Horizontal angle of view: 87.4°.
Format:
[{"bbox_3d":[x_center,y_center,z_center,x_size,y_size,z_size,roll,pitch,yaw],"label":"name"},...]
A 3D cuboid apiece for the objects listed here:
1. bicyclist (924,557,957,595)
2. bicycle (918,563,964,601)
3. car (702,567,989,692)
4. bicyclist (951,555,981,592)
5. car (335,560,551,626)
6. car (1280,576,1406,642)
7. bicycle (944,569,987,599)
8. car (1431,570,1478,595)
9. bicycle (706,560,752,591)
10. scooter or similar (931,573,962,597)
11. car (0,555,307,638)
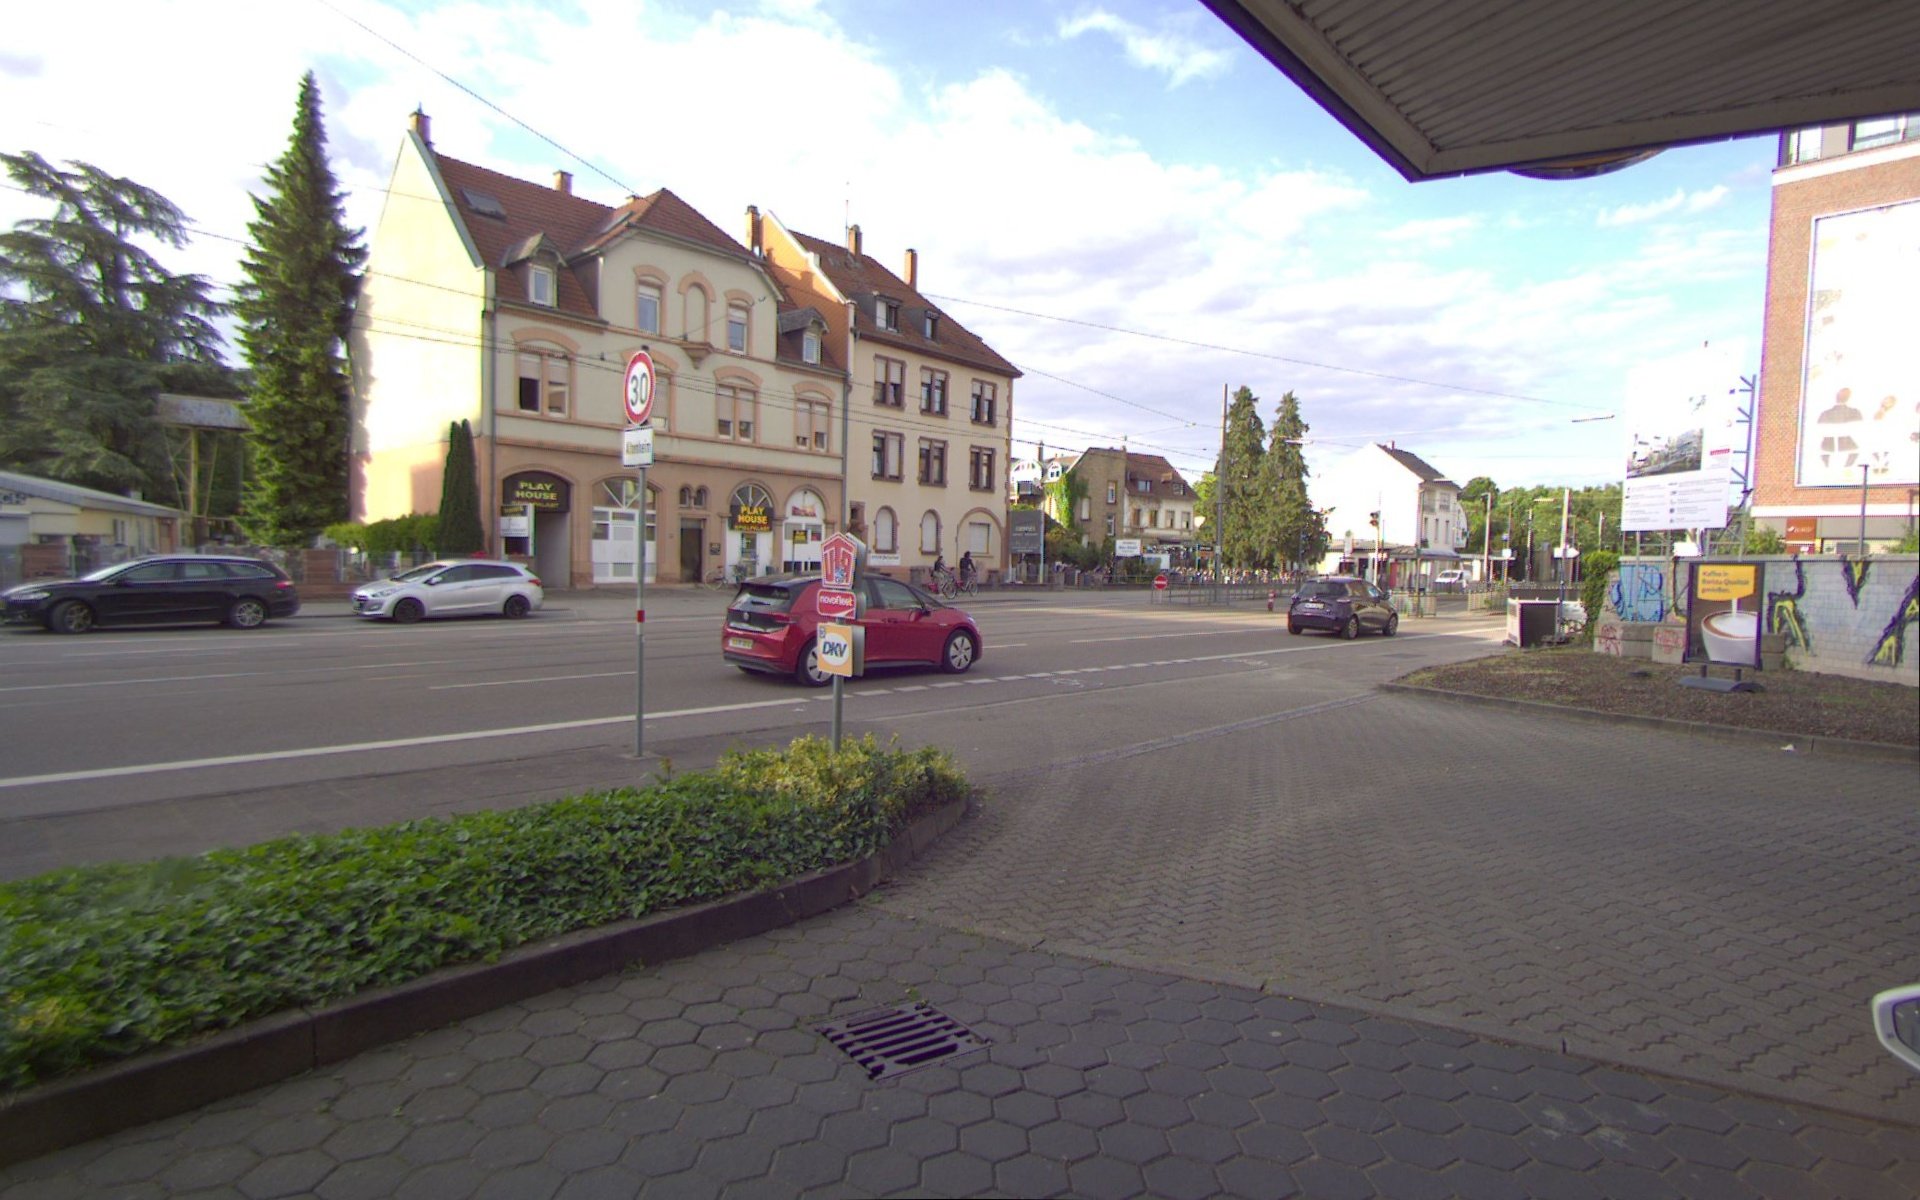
[{"bbox_3d":[-0.820,-1.010,41.847,0.777,1.512,1.091,6,5,40],"label":"bicyclist"},{"bbox_3d":[-0.787,-0.750,41.901,0.777,1.512,1.982,6,5,39],"label":"bicycle"},{"bbox_3d":[-1.608,0.352,15.146,1.745,1.564,4.106,5,4,44],"label":"car"},{"bbox_3d":[0.268,-1.190,44.593,0.833,1.579,0.960,8,6,39],"label":"bicyclist"},{"bbox_3d":[-12.997,-0.243,25.478,1.970,1.495,4.467,3,3,40],"label":"car"},{"bbox_3d":[10.339,0.178,26.957,1.707,1.564,3.976,5,4,43],"label":"car"},{"bbox_3d":[0.253,-0.732,44.648,0.833,1.219,1.897,8,6,38],"label":"bicycle"},{"bbox_3d":[39.813,-1.385,80.819,4.381,1.915,1.943,0,3,-44],"label":"car"},{"bbox_3d":[-9.140,-0.951,39.723,0.508,1.189,1.809,4,2,40],"label":"bicycle"},{"bbox_3d":[-0.595,-0.686,45.150,0.488,1.015,1.592,5,5,39],"label":"scooter or similar"},{"bbox_3d":[-16.566,-0.145,20.746,1.970,1.516,4.801,3,3,40],"label":"car"}]
